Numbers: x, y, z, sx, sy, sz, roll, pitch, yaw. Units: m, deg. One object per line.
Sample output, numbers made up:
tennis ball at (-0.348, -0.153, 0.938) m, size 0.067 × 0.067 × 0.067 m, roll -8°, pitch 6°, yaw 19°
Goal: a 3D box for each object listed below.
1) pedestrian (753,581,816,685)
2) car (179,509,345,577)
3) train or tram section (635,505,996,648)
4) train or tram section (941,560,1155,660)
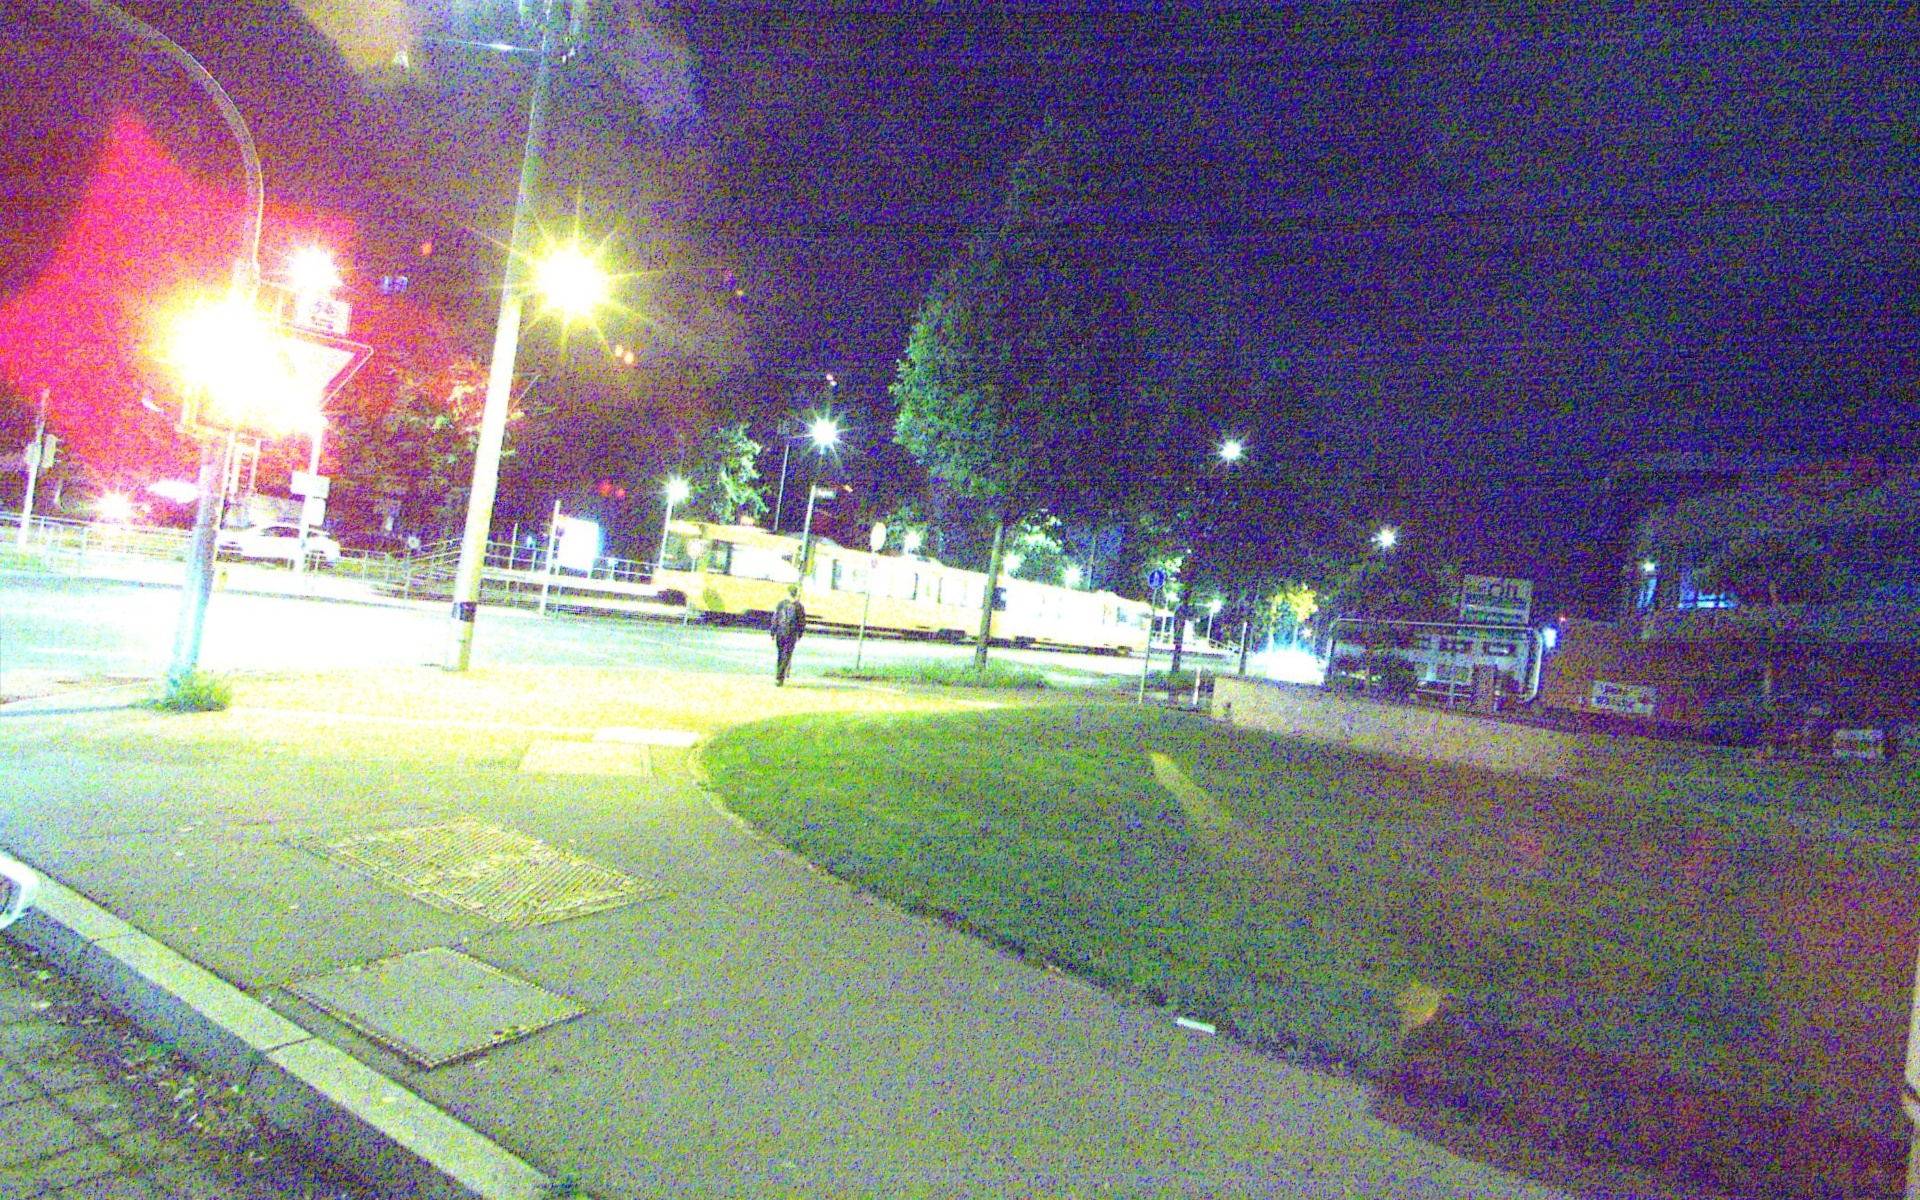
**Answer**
pedestrian at (-2.959, 0.549, 16.887) m, size 0.867 × 1.677 × 0.835 m, roll 3°, pitch 1°, yaw -18°
car at (-24.977, -2.012, 36.156) m, size 1.911 × 1.662 × 4.404 m, roll 5°, pitch -3°, yaw 35°
train or tram section at (-4.936, -0.519, 42.640) m, size 2.918 × 3.896 × 18.427 m, roll 8°, pitch 0°, yaw 35°
train or tram section at (5.792, 0.908, 57.903) m, size 2.919 × 3.894 × 18.866 m, roll 5°, pitch -2°, yaw 35°
